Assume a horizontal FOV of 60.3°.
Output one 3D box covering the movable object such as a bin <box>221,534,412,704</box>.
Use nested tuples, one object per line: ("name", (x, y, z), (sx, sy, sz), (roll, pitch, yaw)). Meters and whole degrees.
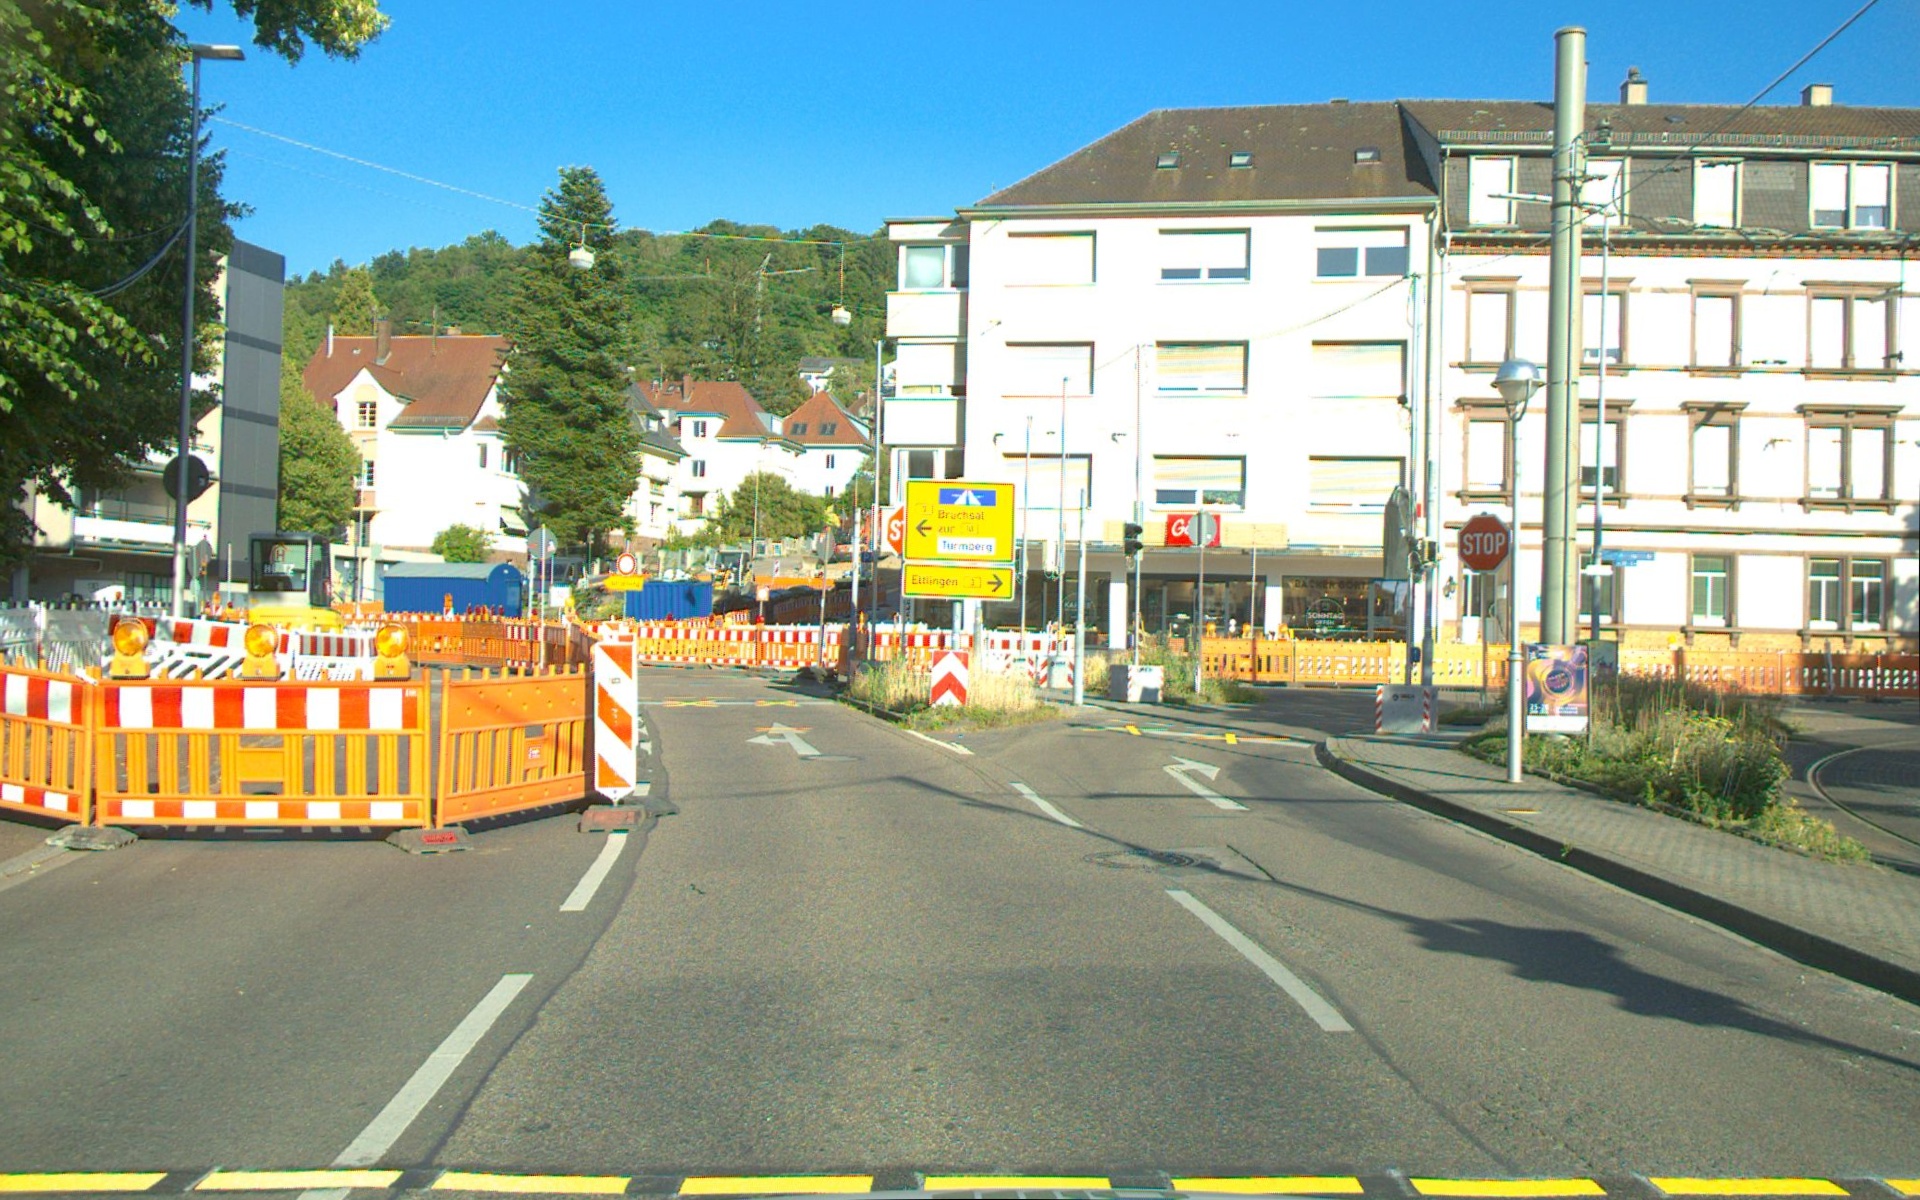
("movable object such as a bin", (-9.646, 0.274, 25.085), (1.614, 2.365, 3.917), (1, 0, -5))

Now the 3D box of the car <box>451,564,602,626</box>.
("car", (-16.080, -0.134, 61.816), (2.529, 2.158, 6.153), (0, -1, 18))

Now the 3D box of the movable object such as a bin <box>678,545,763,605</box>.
("movable object such as a bin", (-10.744, -1.093, 74.588), (1.907, 2.538, 4.553), (0, -1, 19))

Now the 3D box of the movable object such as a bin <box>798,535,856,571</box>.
("movable object such as a bin", (-8.844, -3.104, 110.532), (2.510, 2.159, 5.789), (0, -1, 9))
